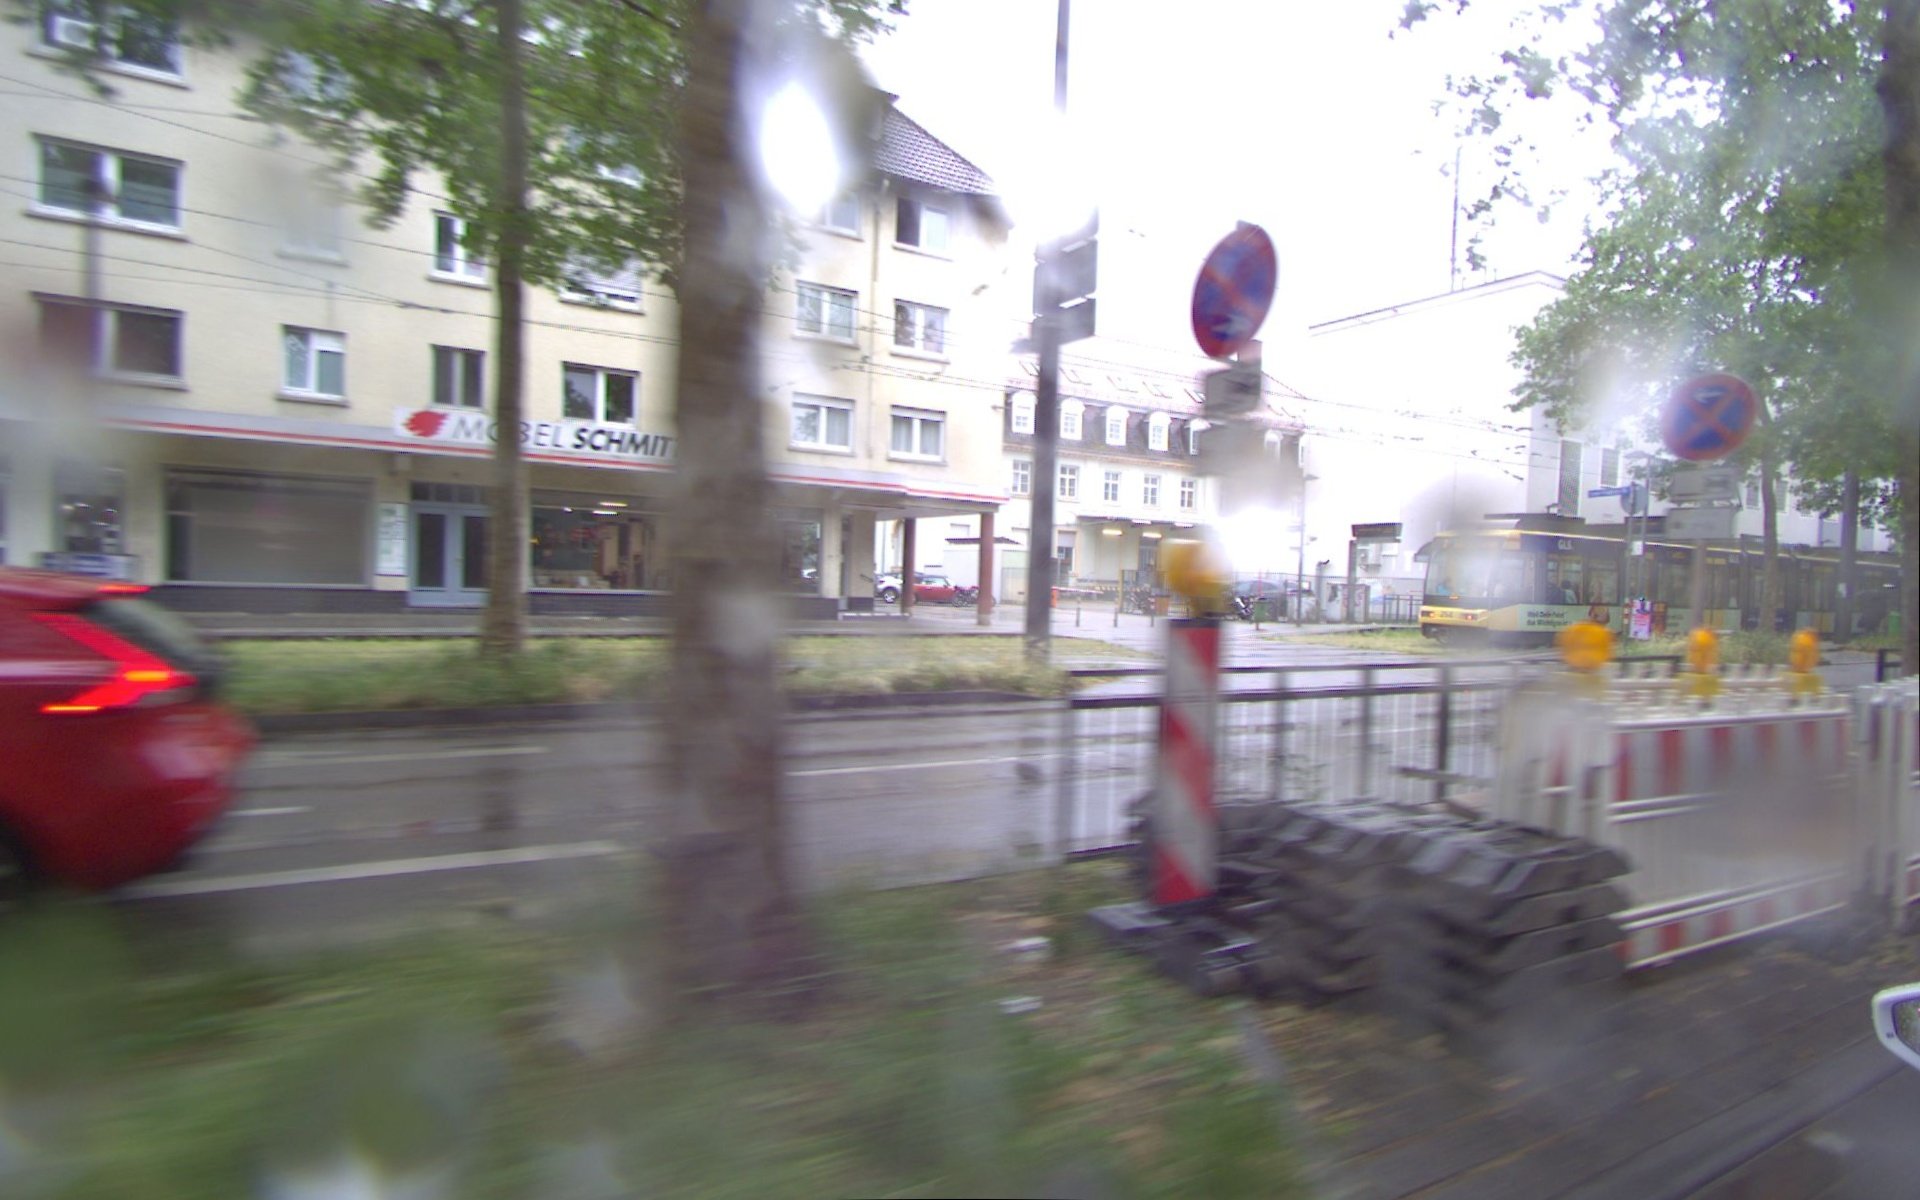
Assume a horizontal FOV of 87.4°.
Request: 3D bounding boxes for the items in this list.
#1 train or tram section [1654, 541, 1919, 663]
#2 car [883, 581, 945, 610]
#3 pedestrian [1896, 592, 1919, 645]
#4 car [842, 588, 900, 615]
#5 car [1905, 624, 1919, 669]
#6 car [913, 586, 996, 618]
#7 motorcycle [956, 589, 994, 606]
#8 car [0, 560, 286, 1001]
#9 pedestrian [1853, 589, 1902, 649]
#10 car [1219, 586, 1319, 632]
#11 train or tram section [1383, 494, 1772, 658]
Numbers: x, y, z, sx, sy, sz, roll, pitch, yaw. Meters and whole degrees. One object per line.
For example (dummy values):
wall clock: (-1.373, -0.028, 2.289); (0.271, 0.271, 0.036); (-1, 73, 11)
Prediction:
train or tram section: (30.129, 0.280, 35.876); (14.511, 3.605, 3.089); (3, 0, -32)
car: (-2.284, -0.241, 49.646); (2.966, 1.242, 1.345); (2, 3, -2)
pedestrian: (31.634, 0.608, 33.145); (0.862, 1.726, 0.813); (1, 2, -31)
car: (-4.685, 0.082, 53.123); (2.966, 1.242, 1.345); (2, 3, -2)
car: (31.574, 1.514, 31.562); (3.713, 1.361, 1.729); (1, 4, -32)
car: (-0.280, 0.087, 46.979); (3.778, 1.242, 1.345); (2, 3, -3)
motorcycle: (0.672, -0.113, 45.356); (1.642, 0.719, 0.521); (2, 1, -3)
car: (-4.795, 0.543, 3.265); (4.184, 1.416, 1.732); (1, 2, -31)
pedestrian: (27.613, 0.566, 30.245); (0.862, 1.726, 0.813); (1, 2, -31)
car: (11.826, 0.307, 38.637); (1.589, 1.562, 3.664); (1, 2, -26)
train or tram section: (17.918, -0.376, 28.381); (14.415, 3.605, 3.089); (3, 0, -32)
